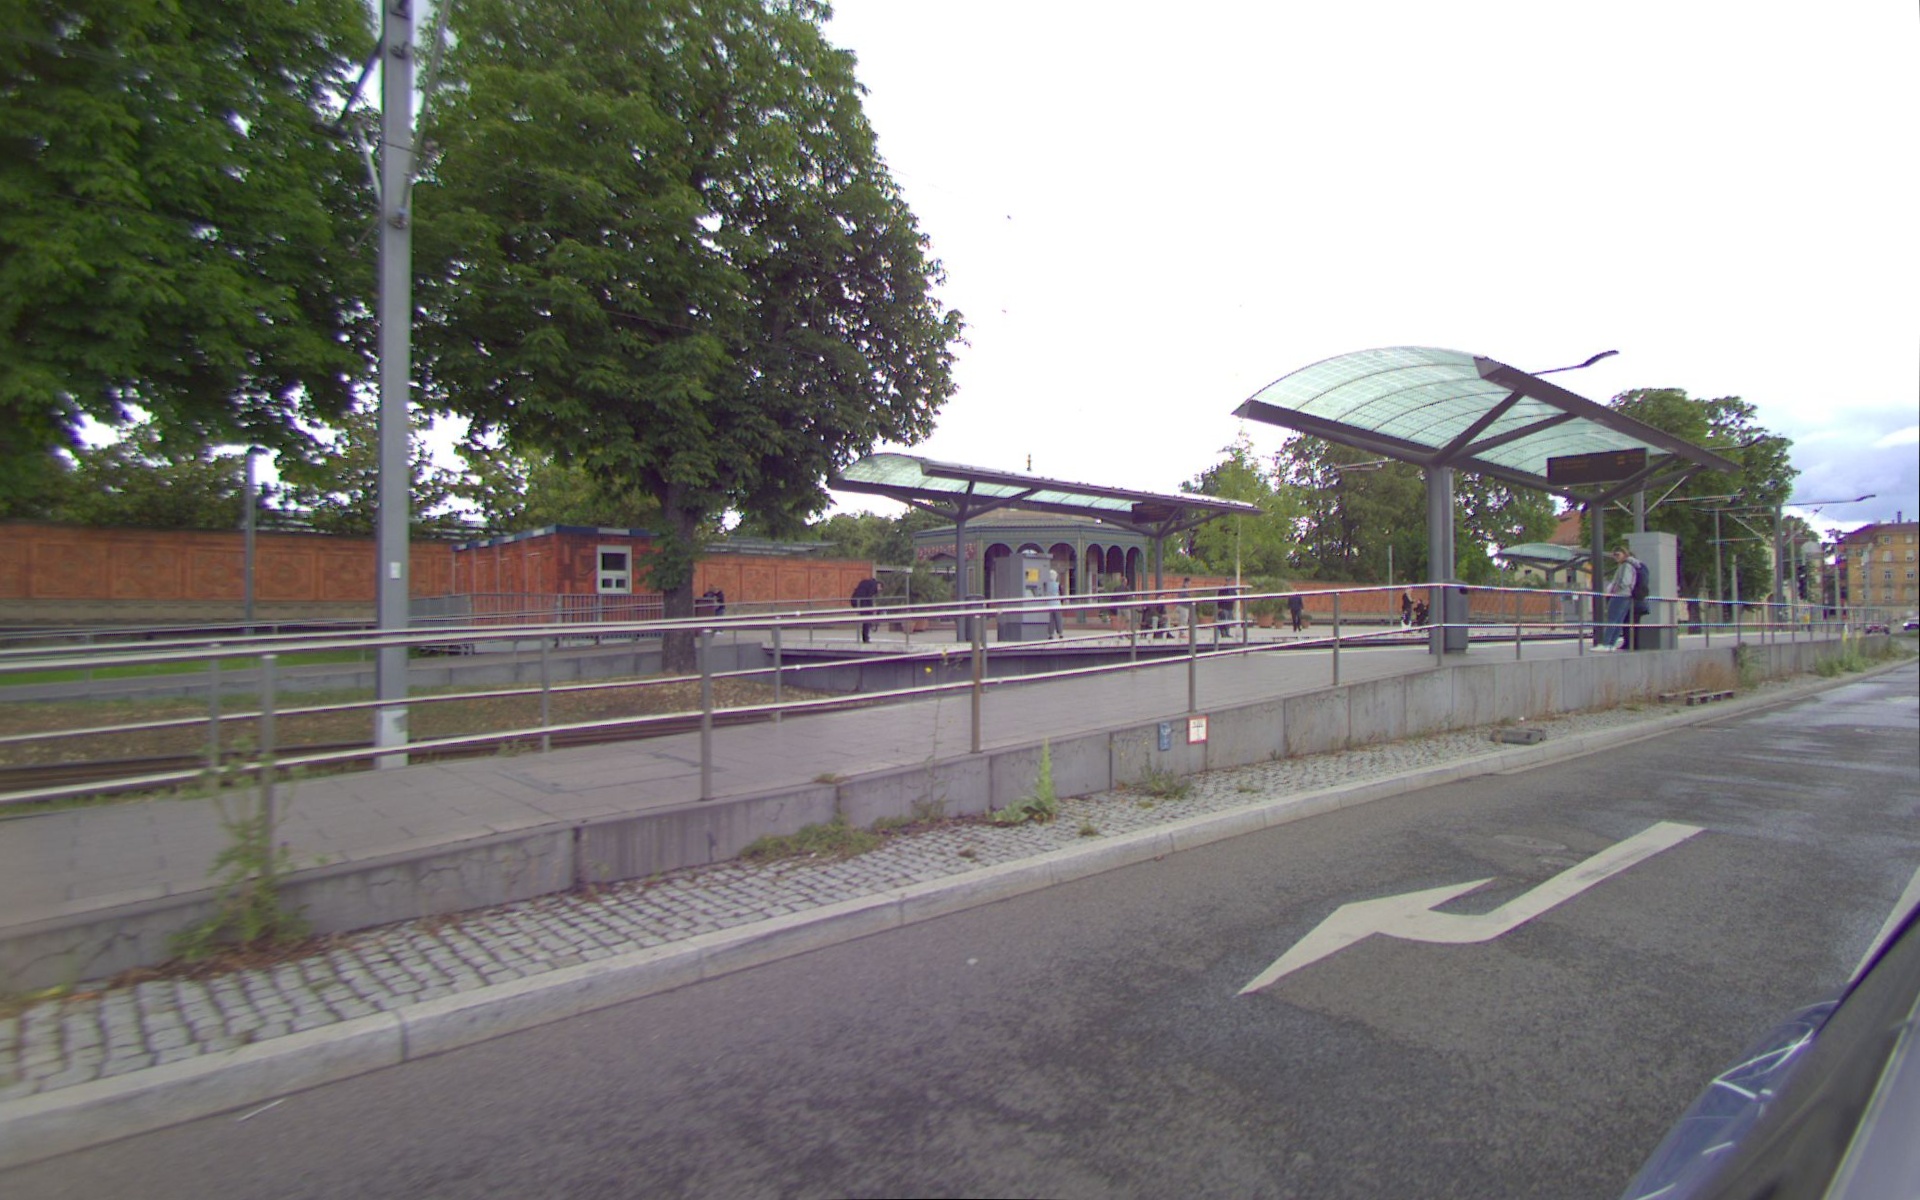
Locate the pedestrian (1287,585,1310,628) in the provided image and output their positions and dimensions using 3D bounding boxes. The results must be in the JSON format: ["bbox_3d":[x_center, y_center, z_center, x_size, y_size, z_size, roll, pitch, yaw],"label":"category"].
[{"bbox_3d":[15.116,0.302,45.153,0.547,1.862,0.937,-5,-4,42],"label":"pedestrian"}]

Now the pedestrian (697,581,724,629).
[{"bbox_3d":[-8.400,0.175,34.069,0.582,1.604,0.615,-4,-4,36],"label":"pedestrian"}]

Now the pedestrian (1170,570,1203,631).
[{"bbox_3d":[6.185,0.017,27.683,0.663,1.641,0.525,0,-4,-39],"label":"pedestrian"}]

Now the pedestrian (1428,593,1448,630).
[{"bbox_3d":[21.777,0.517,46.107,0.616,1.682,0.487,0,-3,-32],"label":"pedestrian"}]

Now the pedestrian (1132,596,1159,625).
[{"bbox_3d":[5.029,0.279,27.457,0.416,0.750,0.563,0,-3,-32],"label":"pedestrian"}]

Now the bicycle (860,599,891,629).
[{"bbox_3d":[-3.180,0.529,38.232,0.556,1.075,1.705,-3,-3,18],"label":"bicycle"}]

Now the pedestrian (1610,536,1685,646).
[{"bbox_3d":[11.190,-0.125,16.480,0.718,1.722,0.771,3,-5,-39],"label":"pedestrian"}]

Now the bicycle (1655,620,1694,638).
[{"bbox_3d":[47.253,1.926,66.940,0.727,1.172,1.997,1,-1,-36],"label":"bicycle"}]

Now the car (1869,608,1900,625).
[{"bbox_3d":[85.257,1.492,93.352,4.048,1.461,1.678,1,-4,-42],"label":"car"}]

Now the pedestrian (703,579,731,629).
[{"bbox_3d":[-8.025,0.135,33.450,0.652,1.604,0.614,-4,-4,35],"label":"pedestrian"}]

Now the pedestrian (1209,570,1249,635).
[{"bbox_3d":[7.954,0.070,29.915,0.933,1.862,0.633,0,-4,-40],"label":"pedestrian"}]

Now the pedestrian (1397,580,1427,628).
[{"bbox_3d":[16.744,0.147,37.468,0.851,1.709,0.633,1,-4,-41],"label":"pedestrian"}]

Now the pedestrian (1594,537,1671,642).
[{"bbox_3d":[10.578,-0.146,15.932,0.760,1.574,0.751,3,-5,-39],"label":"pedestrian"}]

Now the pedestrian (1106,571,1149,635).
[{"bbox_3d":[4.613,0.099,27.852,0.858,1.699,0.751,-4,-4,39],"label":"pedestrian"}]

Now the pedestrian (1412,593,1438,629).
[{"bbox_3d":[21.613,0.516,47.060,0.757,1.621,0.742,0,-3,-32],"label":"pedestrian"}]

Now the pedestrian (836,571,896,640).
[{"bbox_3d":[-1.896,0.118,20.365,0.951,1.341,0.674,1,-4,-42],"label":"pedestrian"}]

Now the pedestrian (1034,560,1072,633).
[{"bbox_3d":[2.215,-0.068,24.146,0.664,1.699,0.544,1,-4,-44],"label":"pedestrian"}]

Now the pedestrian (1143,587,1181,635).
[{"bbox_3d":[5.206,0.294,26.094,0.663,1.207,0.658,0,-4,-39],"label":"pedestrian"}]
